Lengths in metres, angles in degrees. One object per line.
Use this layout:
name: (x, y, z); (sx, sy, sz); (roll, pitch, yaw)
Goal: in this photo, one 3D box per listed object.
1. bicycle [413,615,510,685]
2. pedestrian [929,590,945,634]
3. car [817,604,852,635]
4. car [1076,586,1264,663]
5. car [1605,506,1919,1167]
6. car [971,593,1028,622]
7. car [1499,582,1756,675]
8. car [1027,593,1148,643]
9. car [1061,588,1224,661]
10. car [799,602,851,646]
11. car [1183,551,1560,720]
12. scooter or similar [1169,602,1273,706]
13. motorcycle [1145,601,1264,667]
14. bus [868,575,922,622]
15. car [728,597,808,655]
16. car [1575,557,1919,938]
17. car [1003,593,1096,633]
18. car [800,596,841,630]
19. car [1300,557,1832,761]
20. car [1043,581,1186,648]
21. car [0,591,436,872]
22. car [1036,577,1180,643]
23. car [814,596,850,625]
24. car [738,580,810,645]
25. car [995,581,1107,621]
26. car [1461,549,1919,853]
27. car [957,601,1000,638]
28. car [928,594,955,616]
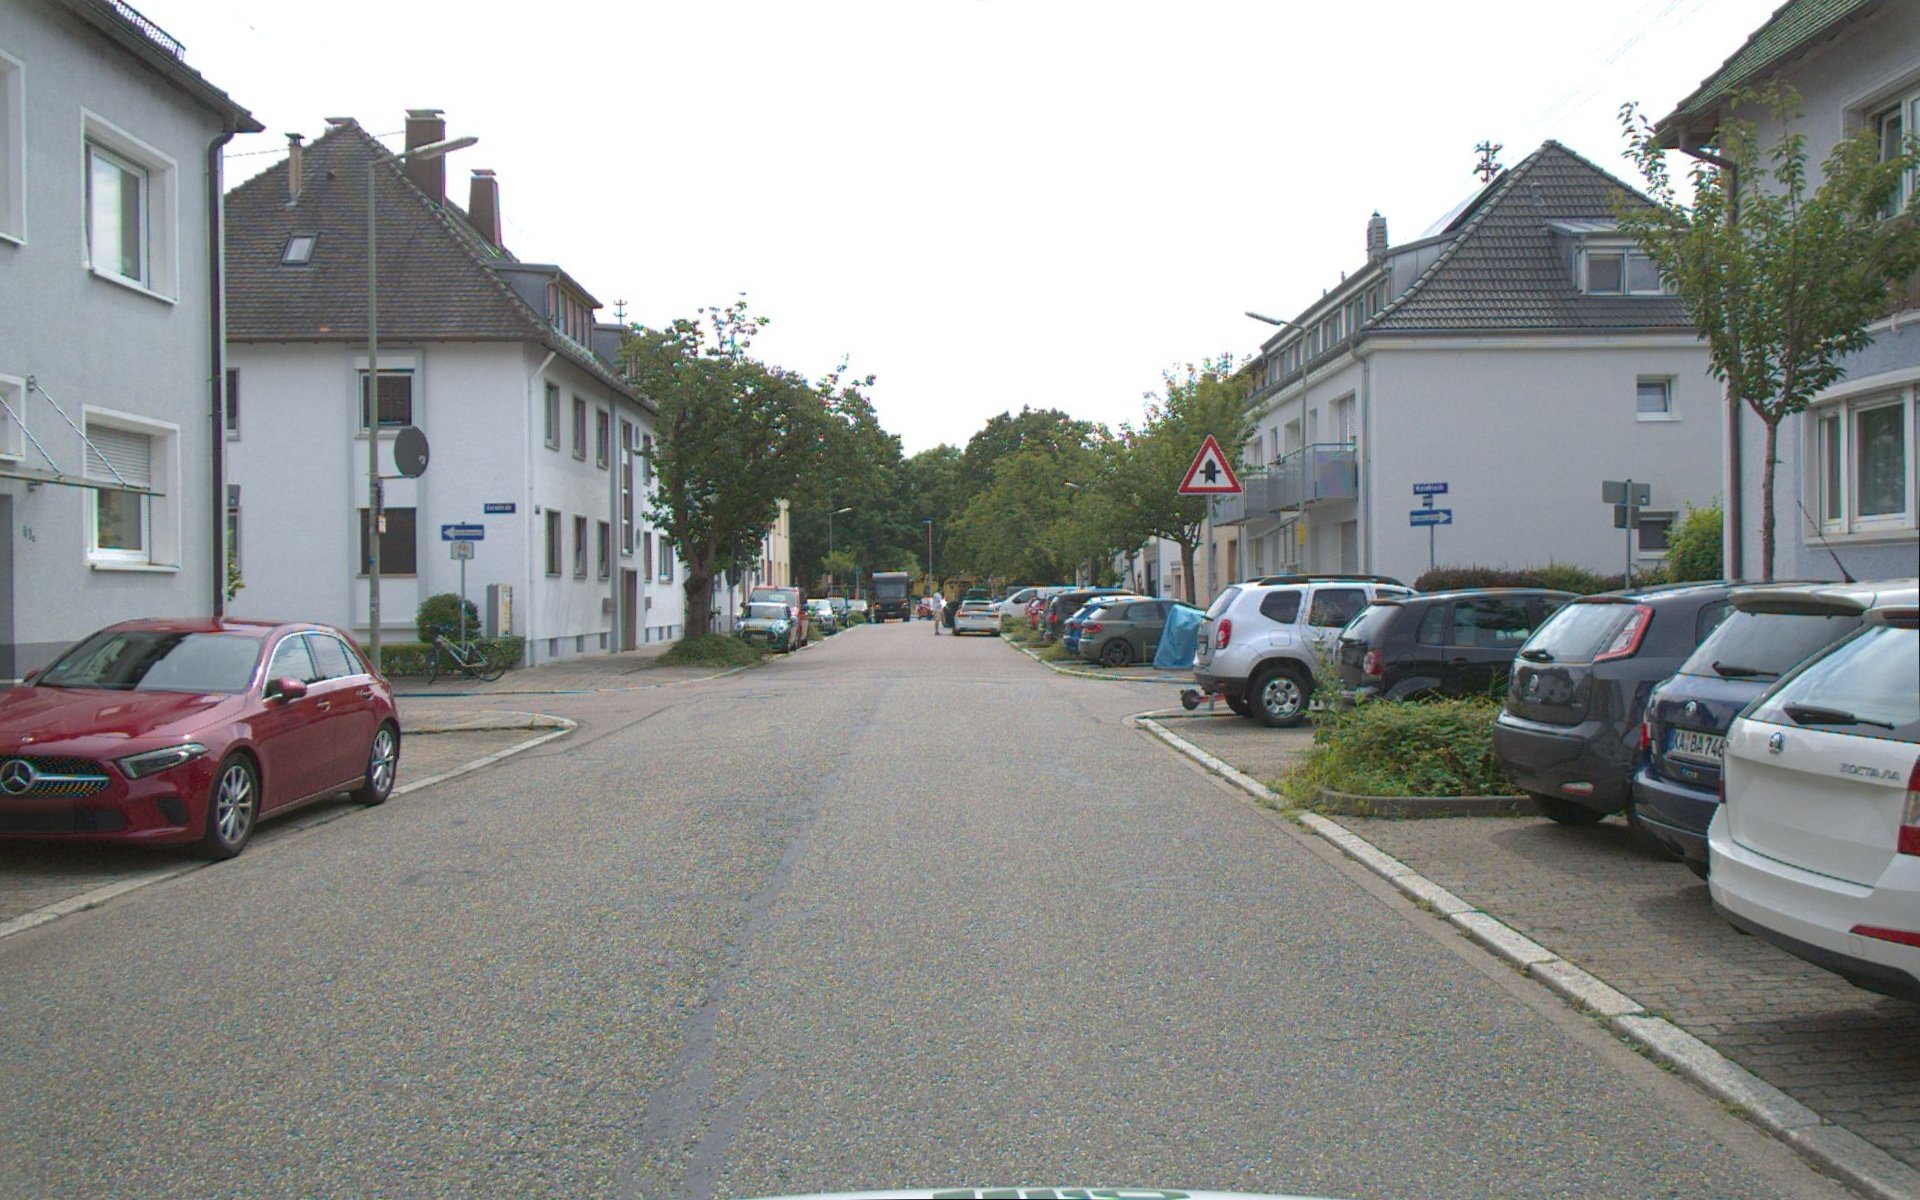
bicycle: (-9.192, 0.911, 30.546); (1.602, 1.199, 0.435); (-3, 0, -5)
pedestrian: (-0.912, 0.486, 66.019); (0.511, 1.734, 0.445); (-3, 0, 3)
car: (-5.867, 0.891, 77.638); (1.508, 1.324, 3.719); (-3, 0, -3)
car: (4.354, 0.500, 34.680); (3.671, 1.389, 1.773); (-3, 0, 0)
car: (4.682, 0.487, 5.187); (4.520, 1.693, 1.892); (-3, 0, 0)
car: (2.475, 0.475, 104.123); (3.457, 1.630, 1.773); (-3, 0, 0)
car: (11.373, 0.472, 28.329); (3.724, 1.468, 1.663); (-1, 0, -1)
car: (4.284, 0.607, 56.106); (3.906, 1.463, 1.722); (-3, 0, -1)
car: (4.094, 0.546, 37.370); (3.446, 1.437, 1.558); (-3, 0, -1)
car: (-4.952, 0.852, 60.873); (1.618, 1.487, 3.551); (-3, 0, -1)
car: (4.657, 0.389, 19.142); (3.843, 1.661, 1.868); (-3, 0, 0)
scooter or similar: (3.386, 0.689, 21.462); (1.217, 1.265, 0.420); (-3, 0, -14)
motorcycle: (4.772, 0.657, 32.330); (2.149, 1.232, 0.939); (-1, 0, -3)
bus: (-4.117, -0.100, 106.774); (2.942, 2.809, 8.924); (-3, 0, 0)
car: (-5.675, 0.748, 49.319); (1.727, 1.581, 3.732); (-3, 0, 3)
car: (5.187, 0.535, 7.770); (3.906, 1.534, 1.712); (-3, 0, -1)
car: (3.903, 0.549, 72.769); (3.906, 1.545, 1.722); (-3, 0, -1)
car: (-6.109, 0.562, 72.574); (1.618, 1.401, 3.719); (-3, 0, -3)
car: (5.094, 0.474, 14.264); (3.906, 1.446, 1.712); (-3, 0, -1)
car: (4.164, 0.387, 45.067); (3.671, 1.591, 1.773); (-3, 0, 0)
car: (-5.290, 0.749, 11.466); (1.839, 1.512, 4.511); (-3, 0, -1)
car: (4.215, 0.289, 47.452); (3.905, 1.646, 1.867); (-3, 0, 0)
car: (-6.692, 0.515, 86.647); (1.618, 1.401, 3.721); (-3, 0, -1)
car: (-6.135, 0.388, 55.013); (1.953, 2.049, 4.519); (-1, 0, -1)
car: (4.104, 0.048, 75.140); (4.876, 1.545, 1.768); (-3, 0, -3)
car: (5.212, 0.491, 9.794); (3.906, 1.534, 1.712); (-3, 0, -1)
car: (0.749, 0.763, 66.789); (1.652, 1.377, 3.826); (-3, 0, 1)
car: (-1.246, 0.326, 112.031); (1.718, 1.365, 4.000); (-2, 0, 0)
